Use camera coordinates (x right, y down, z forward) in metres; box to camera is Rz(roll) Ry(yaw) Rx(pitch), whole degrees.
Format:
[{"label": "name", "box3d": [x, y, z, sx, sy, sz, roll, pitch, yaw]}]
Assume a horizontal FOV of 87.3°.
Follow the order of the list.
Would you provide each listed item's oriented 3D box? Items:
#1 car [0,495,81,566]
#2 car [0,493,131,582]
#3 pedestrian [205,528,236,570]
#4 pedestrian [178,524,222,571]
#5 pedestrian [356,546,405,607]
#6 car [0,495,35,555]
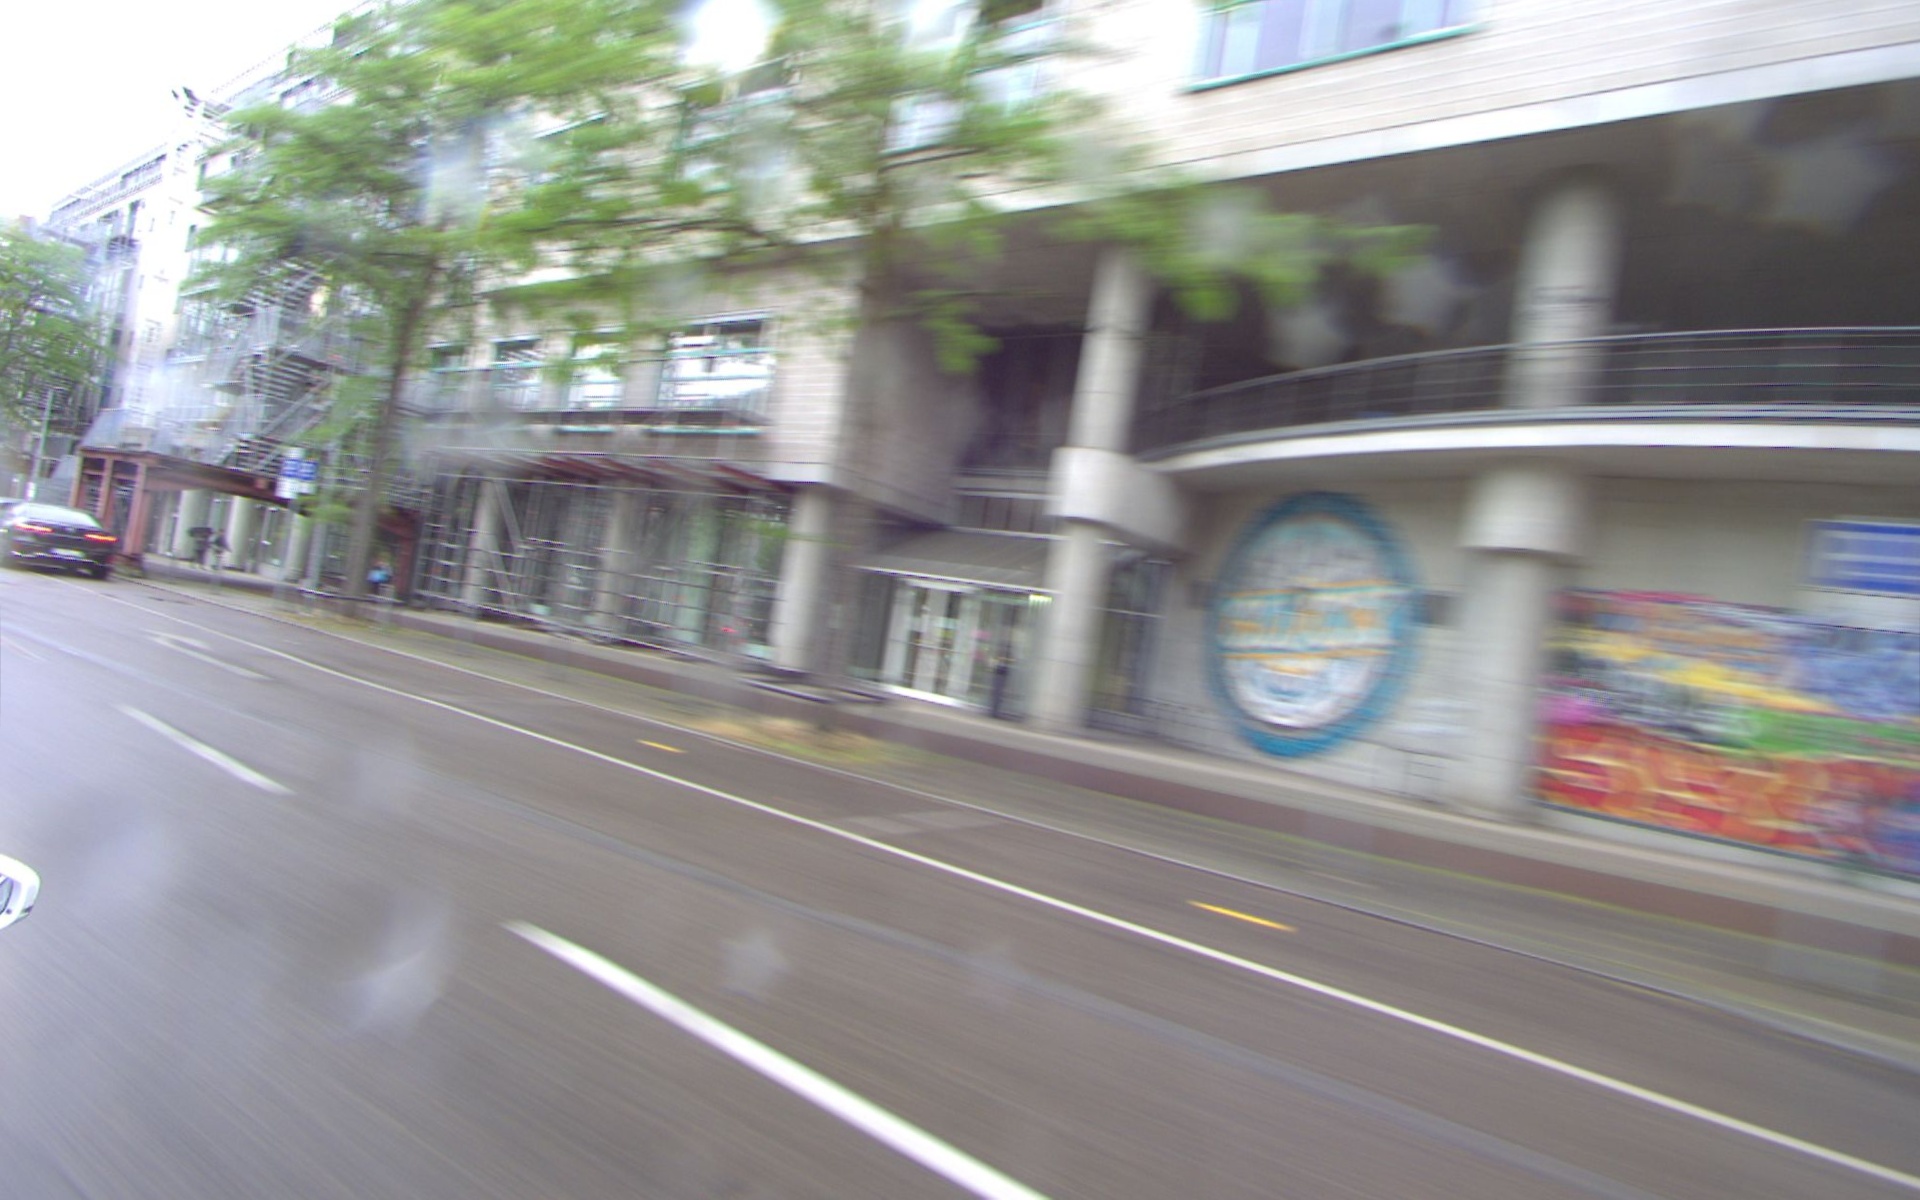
[{"label": "car", "box3d": [-26.467, -2.056, 28.051, 4.521, 1.619, 1.863, 7, -2, 36]}, {"label": "car", "box3d": [-21.663, -1.552, 23.847, 5.212, 1.619, 1.994, 6, -2, 39]}, {"label": "pedestrian", "box3d": [-29.796, -2.048, 40.538, 0.756, 1.536, 0.680, 7, -2, 38]}, {"label": "pedestrian", "box3d": [-29.060, -2.008, 38.460, 1.095, 1.614, 0.820, 7, -2, 31]}, {"label": "pedestrian", "box3d": [-16.724, -0.673, 29.020, 0.909, 1.614, 0.705, 7, -2, 34]}, {"label": "car", "box3d": [-30.671, -2.532, 31.232, 4.790, 1.665, 1.994, 6, -2, 38]}]
